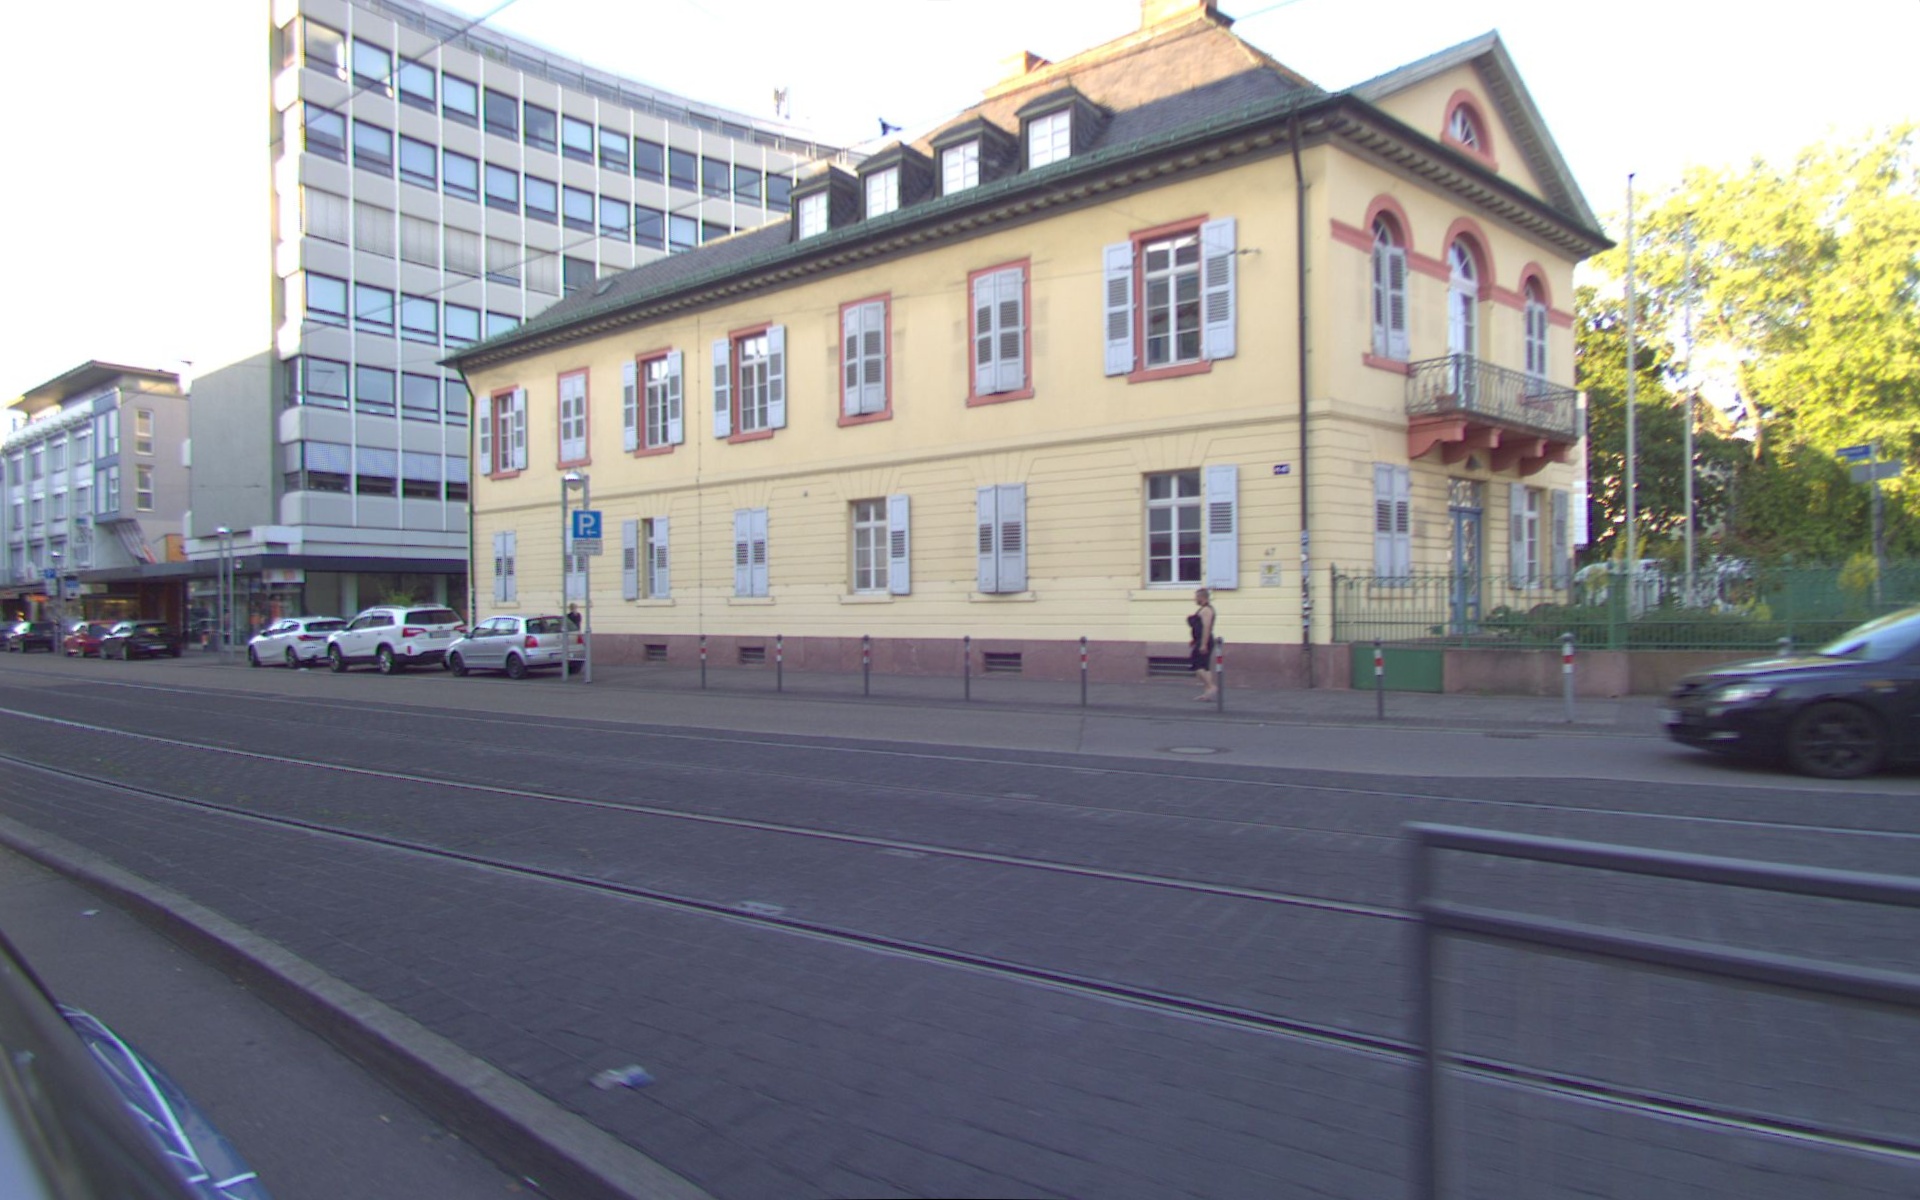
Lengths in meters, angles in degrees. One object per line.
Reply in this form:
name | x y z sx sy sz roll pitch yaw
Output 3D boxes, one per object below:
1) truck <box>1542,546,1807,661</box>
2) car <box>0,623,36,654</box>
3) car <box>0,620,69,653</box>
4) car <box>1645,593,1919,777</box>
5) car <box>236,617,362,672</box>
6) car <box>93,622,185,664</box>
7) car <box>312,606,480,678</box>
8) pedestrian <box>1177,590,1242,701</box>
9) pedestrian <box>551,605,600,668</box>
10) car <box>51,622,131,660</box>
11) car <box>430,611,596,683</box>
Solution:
truck | 18.837 0.054 27.079 2.159 2.719 5.484 -2 1 -20
car | -48.477 1.946 51.039 4.561 1.437 1.856 -1 1 36
car | -43.136 1.681 47.063 4.083 1.472 1.774 -1 -1 37
car | 8.284 0.625 8.185 4.192 1.386 1.760 -1 -1 21
car | -19.949 1.317 30.496 4.273 1.464 1.706 -1 1 35
car | -31.245 1.630 38.488 3.956 1.436 1.677 -2 1 36
car | -14.934 1.075 26.711 4.748 1.673 1.871 -1 1 34
pedestrian | 3.608 0.648 14.623 0.716 1.548 0.714 -1 -1 31
pedestrian | -9.874 0.924 26.000 0.876 1.553 0.792 -1 1 37
car | -35.518 1.672 41.328 3.584 1.445 1.677 -1 -1 36
car | -10.548 1.074 23.802 3.991 1.485 1.733 -2 0 35
